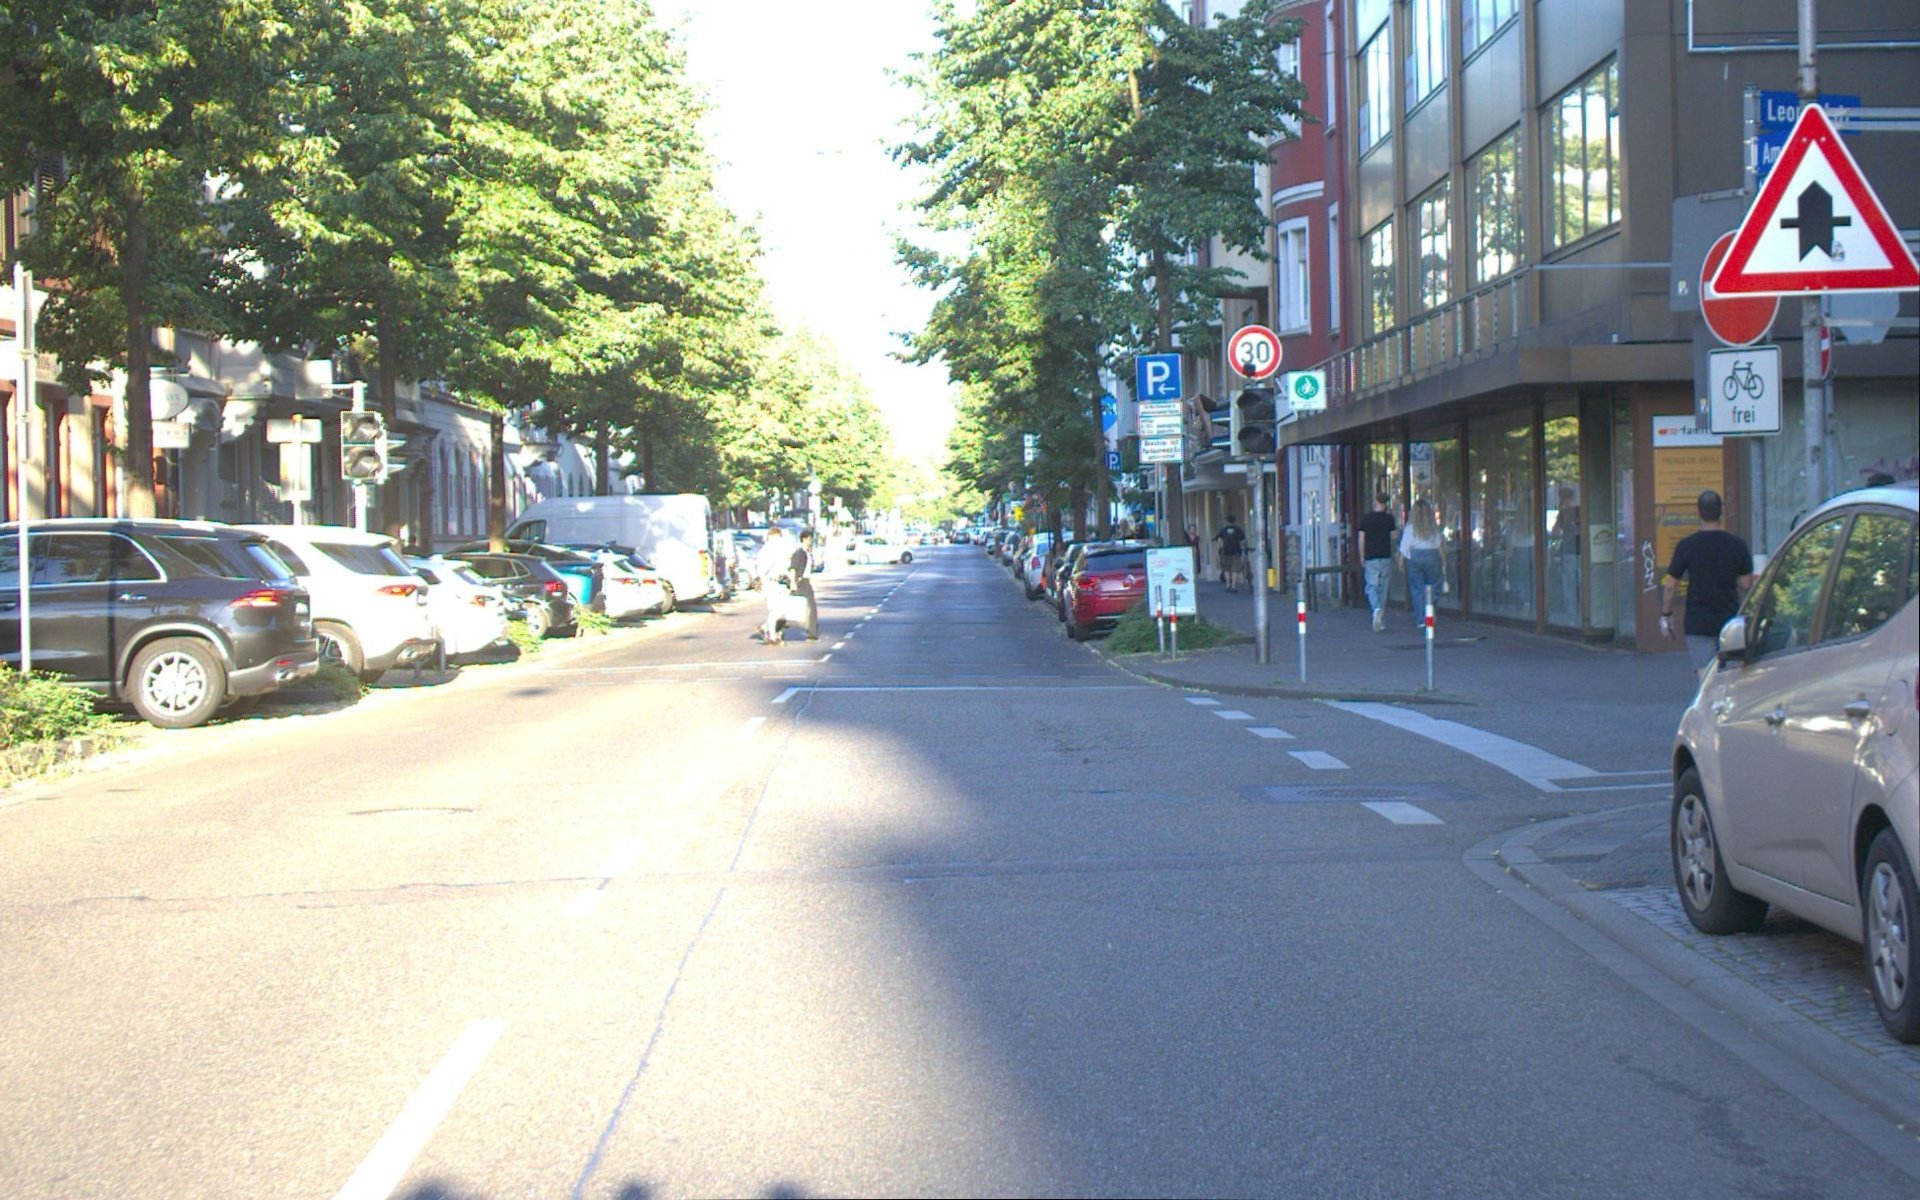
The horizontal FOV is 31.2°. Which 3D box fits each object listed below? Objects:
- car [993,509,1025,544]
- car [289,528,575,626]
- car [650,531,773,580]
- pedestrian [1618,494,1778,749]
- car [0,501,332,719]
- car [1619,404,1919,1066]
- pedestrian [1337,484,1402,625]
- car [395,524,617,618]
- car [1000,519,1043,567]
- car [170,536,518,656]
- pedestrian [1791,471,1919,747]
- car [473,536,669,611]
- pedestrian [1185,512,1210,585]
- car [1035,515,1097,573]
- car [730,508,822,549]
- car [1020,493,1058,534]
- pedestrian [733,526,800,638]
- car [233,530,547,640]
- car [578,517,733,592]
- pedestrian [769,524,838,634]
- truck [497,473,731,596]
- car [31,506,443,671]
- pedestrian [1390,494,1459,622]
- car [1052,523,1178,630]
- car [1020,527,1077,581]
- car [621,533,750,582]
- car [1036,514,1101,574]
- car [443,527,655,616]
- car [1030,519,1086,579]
[{"bbox_3d":[2.263,-3.355,157.754,1.308,1.594,2.661,0,1,-3],"label":"car"},{"bbox_3d":[-8.727,-0.403,57.133,4.426,1.498,2.000,1,1,0],"label":"car"},{"bbox_3d":[-7.846,-1.421,108.943,3.739,1.487,2.000,-1,1,0],"label":"car"},{"bbox_3d":[4.845,0.119,22.637,0.755,1.634,1.259,0,2,-1],"label":"pedestrian"},{"bbox_3d":[-7.863,0.079,29.866,4.449,1.829,2.034,0,0,0],"label":"car"},{"bbox_3d":[3.371,0.290,10.980,1.696,1.763,4.001,-1,2,-1],"label":"car"},{"bbox_3d":[5.495,-0.619,46.177,0.714,1.859,0.680,-2,2,-3],"label":"pedestrian"},{"bbox_3d":[-8.149,-0.541,61.957,3.739,1.636,2.000,0,2,0],"label":"car"},{"bbox_3d":[2.071,-1.924,116.337,1.308,1.594,2.661,0,1,-3],"label":"car"},{"bbox_3d":[-7.961,-0.075,44.713,4.175,1.502,2.000,0,1,0],"label":"car"},{"bbox_3d":[5.998,0.041,22.571,0.755,1.761,1.222,0,2,-1],"label":"pedestrian"},{"bbox_3d":[-7.872,-0.555,69.755,3.739,1.444,2.000,-1,1,0],"label":"car"},{"bbox_3d":[5.286,-1.145,76.544,0.534,1.616,0.534,0,2,1],"label":"pedestrian"},{"bbox_3d":[2.395,-1.267,78.076,1.206,1.296,2.661,0,1,-3],"label":"car"},{"bbox_3d":[-7.631,-2.969,142.700,3.739,1.702,2.000,0,2,0],"label":"car"},{"bbox_3d":[3.133,-3.457,136.988,1.308,1.594,2.661,0,1,-3],"label":"car"},{"bbox_3d":[-2.914,-0.284,51.757,0.714,1.667,0.710,-1,2,-40],"label":"pedestrian"},{"bbox_3d":[-8.608,-0.243,52.195,4.426,1.594,2.000,-1,1,0],"label":"car"},{"bbox_3d":[-7.665,-1.160,86.855,3.739,1.852,2.000,0,2,0],"label":"car"},{"bbox_3d":[-2.407,-0.327,52.913,0.721,1.677,0.757,0,2,-40],"label":"pedestrian"},{"bbox_3d":[-7.625,-1.454,76.080,4.941,2.606,2.000,-1,1,0],"label":"truck"},{"bbox_3d":[-7.611,-0.144,36.477,3.989,1.702,1.833,0,2,0],"label":"car"},{"bbox_3d":[6.263,-0.571,46.378,0.765,1.683,0.786,-2,2,-2],"label":"pedestrian"},{"bbox_3d":[2.372,-0.375,53.254,1.576,1.537,3.397,-3,1,-3],"label":"car"},{"bbox_3d":[2.185,-1.141,85.361,1.206,1.296,2.661,0,1,-3],"label":"car"},{"bbox_3d":[-8.293,-1.292,104.249,3.739,1.444,2.000,-1,1,0],"label":"car"},{"bbox_3d":[2.362,-1.216,75.106,1.206,1.296,2.661,0,1,-3],"label":"car"},{"bbox_3d":[-7.718,-0.521,64.791,3.739,1.590,2.000,-1,-1,0],"label":"car"},{"bbox_3d":[2.615,-1.371,92.463,1.308,1.594,2.661,0,1,-3],"label":"car"}]
